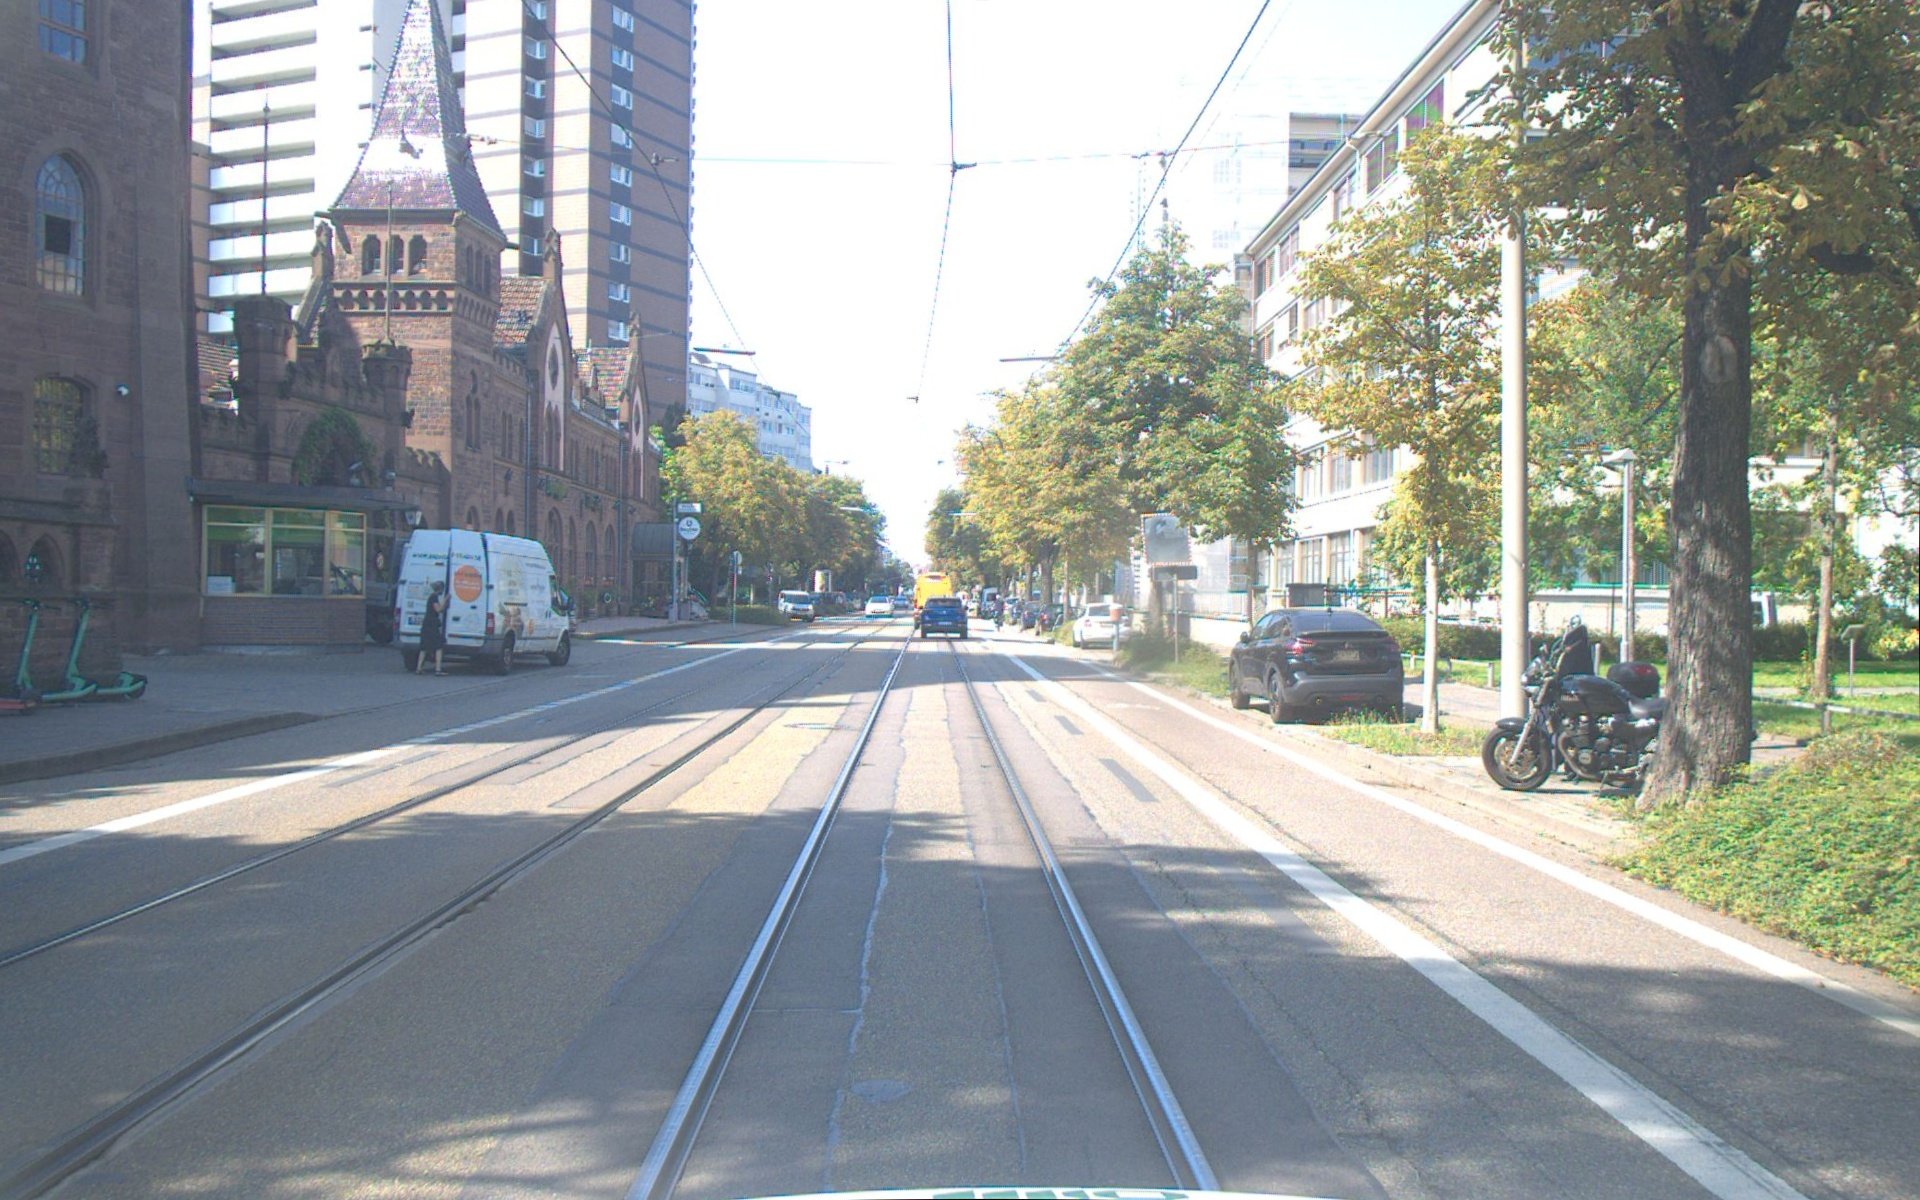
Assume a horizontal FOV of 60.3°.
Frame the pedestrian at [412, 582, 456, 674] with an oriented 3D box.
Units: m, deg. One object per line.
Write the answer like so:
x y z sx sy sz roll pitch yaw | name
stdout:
-9.456 0.504 29.737 0.489 1.627 0.549 1 0 40 | pedestrian

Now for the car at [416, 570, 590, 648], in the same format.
-12.315 0.239 44.784 4.052 1.774 2.000 4 0 0 | car

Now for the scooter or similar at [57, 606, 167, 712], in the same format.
-9.956 0.680 19.449 0.332 1.199 1.177 1 0 24 | scooter or similar

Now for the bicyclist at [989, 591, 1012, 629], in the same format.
1.997 0.501 81.644 1.011 1.844 1.016 1 0 -1 | bicyclist

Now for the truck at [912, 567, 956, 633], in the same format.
-1.301 0.016 82.463 2.092 3.179 6.083 0 0 -1 | truck

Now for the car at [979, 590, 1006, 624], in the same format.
2.717 0.568 139.129 1.953 2.804 5.758 1 0 -2 | car

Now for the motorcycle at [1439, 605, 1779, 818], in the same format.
5.216 0.838 13.393 2.407 1.542 0.849 1 0 38 | motorcycle

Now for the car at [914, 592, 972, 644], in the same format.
-0.660 0.645 63.130 2.092 1.891 5.567 0 0 -1 | car

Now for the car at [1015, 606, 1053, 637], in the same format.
3.778 1.086 84.841 1.707 1.583 4.216 0 0 -1 | car

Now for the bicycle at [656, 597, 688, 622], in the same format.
-14.070 0.482 80.726 1.423 1.112 0.399 4 -1 -5 | bicycle

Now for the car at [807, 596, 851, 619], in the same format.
-12.460 0.703 157.409 3.970 2.049 1.827 2 0 -44 | car

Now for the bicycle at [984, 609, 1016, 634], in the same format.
1.952 1.037 81.627 1.373 1.154 3.999 1 0 -1 | bicycle

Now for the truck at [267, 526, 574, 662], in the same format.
-12.255 -0.155 37.810 6.189 2.582 2.132 4 1 4 | truck

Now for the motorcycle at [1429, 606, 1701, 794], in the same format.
5.446 0.845 15.098 0.839 1.542 2.435 1 0 -25 | motorcycle

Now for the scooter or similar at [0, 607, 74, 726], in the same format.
-9.843 0.680 17.146 0.332 1.199 1.177 1 0 24 | scooter or similar

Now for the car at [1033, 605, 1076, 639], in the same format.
4.167 0.961 73.300 1.625 1.432 4.216 0 0 -1 | car

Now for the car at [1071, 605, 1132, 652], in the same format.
4.653 0.918 54.928 1.625 1.507 4.216 0 0 -1 | car

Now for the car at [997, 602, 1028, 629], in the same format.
3.403 0.979 108.027 1.705 1.697 4.360 1 0 -2 | car

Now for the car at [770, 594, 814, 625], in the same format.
-10.329 0.563 101.427 1.721 1.828 3.977 1 0 -20 | car

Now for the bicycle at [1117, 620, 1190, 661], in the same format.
4.923 1.028 42.175 1.775 0.975 0.558 1 0 -2 | bicycle

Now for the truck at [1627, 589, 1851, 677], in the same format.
22.550 0.935 48.023 5.394 2.366 2.298 1 0 0 | truck

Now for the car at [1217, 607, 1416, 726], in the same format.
5.050 0.881 24.055 1.720 1.542 4.607 0 0 -2 | car

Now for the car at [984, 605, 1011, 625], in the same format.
2.903 1.170 128.536 1.869 1.457 4.290 1 0 -2 | car

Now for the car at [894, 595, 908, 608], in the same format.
-8.064 0.174 226.264 1.744 1.713 4.345 1 0 -2 | car

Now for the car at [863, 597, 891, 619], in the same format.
-5.952 0.591 119.478 1.809 1.518 4.866 1 0 0 | car

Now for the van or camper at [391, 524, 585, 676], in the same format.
-9.249 0.002 33.029 2.069 2.722 5.955 1 0 0 | van or camper

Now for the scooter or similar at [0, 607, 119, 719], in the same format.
-9.951 0.679 18.315 0.332 1.199 1.177 1 0 24 | scooter or similar
